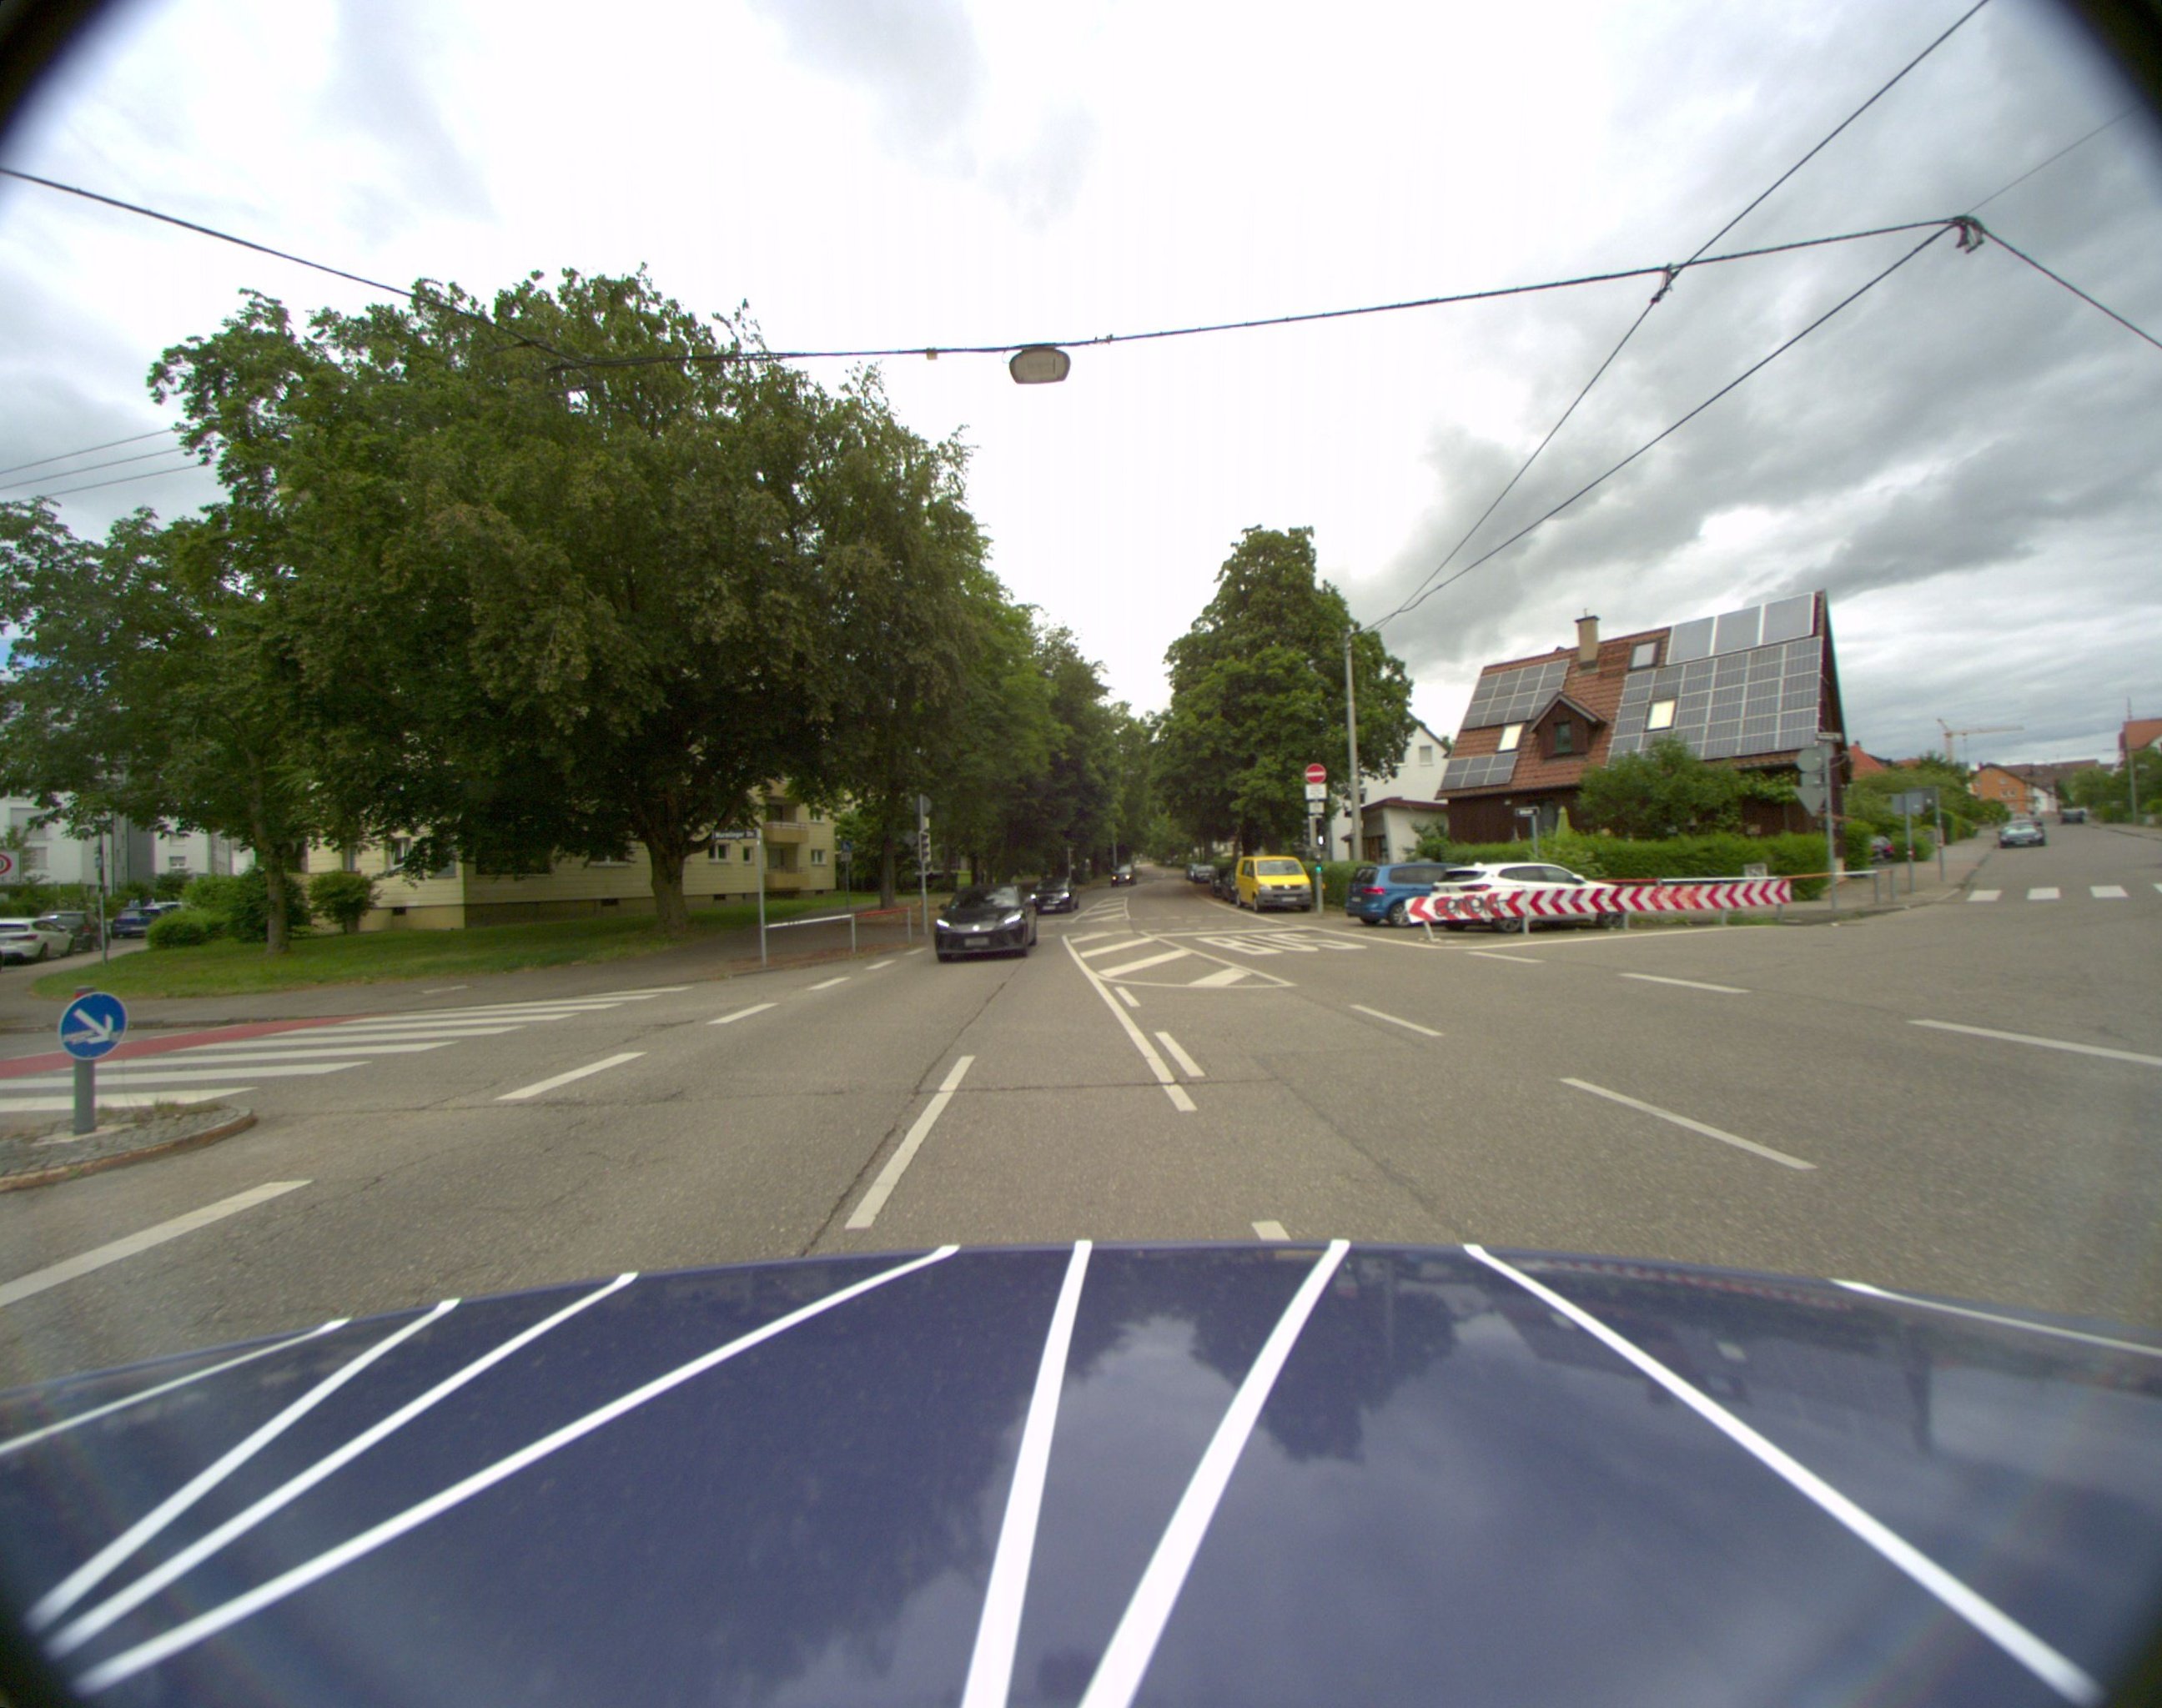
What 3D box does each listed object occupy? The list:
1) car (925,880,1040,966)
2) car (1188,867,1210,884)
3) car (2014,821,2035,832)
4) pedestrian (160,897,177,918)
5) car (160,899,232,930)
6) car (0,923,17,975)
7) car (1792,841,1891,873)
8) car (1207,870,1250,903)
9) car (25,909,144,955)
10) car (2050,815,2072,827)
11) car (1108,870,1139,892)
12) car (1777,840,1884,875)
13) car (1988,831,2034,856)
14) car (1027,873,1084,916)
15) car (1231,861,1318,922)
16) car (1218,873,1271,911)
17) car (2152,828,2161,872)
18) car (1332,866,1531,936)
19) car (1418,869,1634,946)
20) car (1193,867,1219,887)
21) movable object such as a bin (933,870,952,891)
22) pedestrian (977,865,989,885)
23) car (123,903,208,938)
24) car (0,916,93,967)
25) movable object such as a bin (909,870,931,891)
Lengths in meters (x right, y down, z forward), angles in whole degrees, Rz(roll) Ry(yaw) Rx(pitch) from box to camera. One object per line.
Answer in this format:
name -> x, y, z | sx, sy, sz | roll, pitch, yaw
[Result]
car -> -1.953, 1.393, 16.333 | 1.804, 1.540, 4.301 | -2, -3, 1
car -> 10.048, 1.843, 64.904 | 1.636, 1.368, 4.154 | -2, -1, 5
car -> 138.118, -4.030, 111.200 | 3.692, 1.480, 1.770 | -1, -2, -40
pedestrian -> -69.520, 4.085, 57.901 | 0.710, 1.482, 0.710 | -4, 1, 35
car -> -47.373, 3.219, 40.765 | 1.799, 1.403, 4.061 | -1, -1, -39
car -> -30.509, 2.688, 20.040 | 1.799, 1.425, 4.061 | -1, -1, -39
car -> 39.284, 0.183, 39.293 | 1.594, 1.480, 3.434 | -1, -2, -40
car -> 7.439, 1.623, 38.628 | 1.748, 1.442, 4.596 | -2, 0, 7
car -> -37.740, 2.895, 28.911 | 1.799, 1.403, 4.061 | -1, -1, -39
car -> 146.307, -4.918, 113.417 | 3.692, 1.480, 1.770 | -1, -2, -40
car -> 3.476, 2.137, 61.433 | 1.997, 1.586, 4.003 | -2, 0, 9
car -> 35.595, 0.179, 36.158 | 1.594, 1.480, 3.434 | -1, -2, -40
car -> 60.299, -0.667, 49.307 | 3.692, 1.480, 1.770 | -1, -2, -40
car -> -1.016, 1.663, 32.458 | 1.813, 1.520, 4.001 | -2, 1, 6
car -> 6.860, 1.269, 27.546 | 1.921, 1.977, 4.801 | -2, -1, 1
car -> 7.133, 1.623, 33.553 | 1.749, 1.442, 4.515 | -2, 0, 6
car -> 36.575, -0.163, 24.624 | 3.692, 1.480, 1.770 | -1, -2, -40
car -> 8.835, 1.165, 19.357 | 4.177, 1.537, 1.845 | -2, -1, -4
car -> 9.911, 1.144, 17.059 | 3.906, 1.463, 1.844 | -2, -2, -12
car -> 9.678, 1.766, 58.861 | 1.851, 1.368, 4.597 | -2, -1, 9
movable object such as a bin -> -11.049, 2.118, 60.733 | 1.277, 1.633, 1.020 | -1, 1, 3
pedestrian -> -6.856, 1.449, 53.186 | 0.688, 1.373, 0.606 | -2, 1, 7
car -> -44.004, 3.171, 36.623 | 1.799, 1.403, 4.061 | -1, -1, -39
car -> -34.483, 2.842, 24.798 | 1.799, 1.346, 4.061 | -1, -1, -39
movable object such as a bin -> -12.867, 2.143, 60.767 | 1.434, 1.633, 1.020 | -1, 1, 3
